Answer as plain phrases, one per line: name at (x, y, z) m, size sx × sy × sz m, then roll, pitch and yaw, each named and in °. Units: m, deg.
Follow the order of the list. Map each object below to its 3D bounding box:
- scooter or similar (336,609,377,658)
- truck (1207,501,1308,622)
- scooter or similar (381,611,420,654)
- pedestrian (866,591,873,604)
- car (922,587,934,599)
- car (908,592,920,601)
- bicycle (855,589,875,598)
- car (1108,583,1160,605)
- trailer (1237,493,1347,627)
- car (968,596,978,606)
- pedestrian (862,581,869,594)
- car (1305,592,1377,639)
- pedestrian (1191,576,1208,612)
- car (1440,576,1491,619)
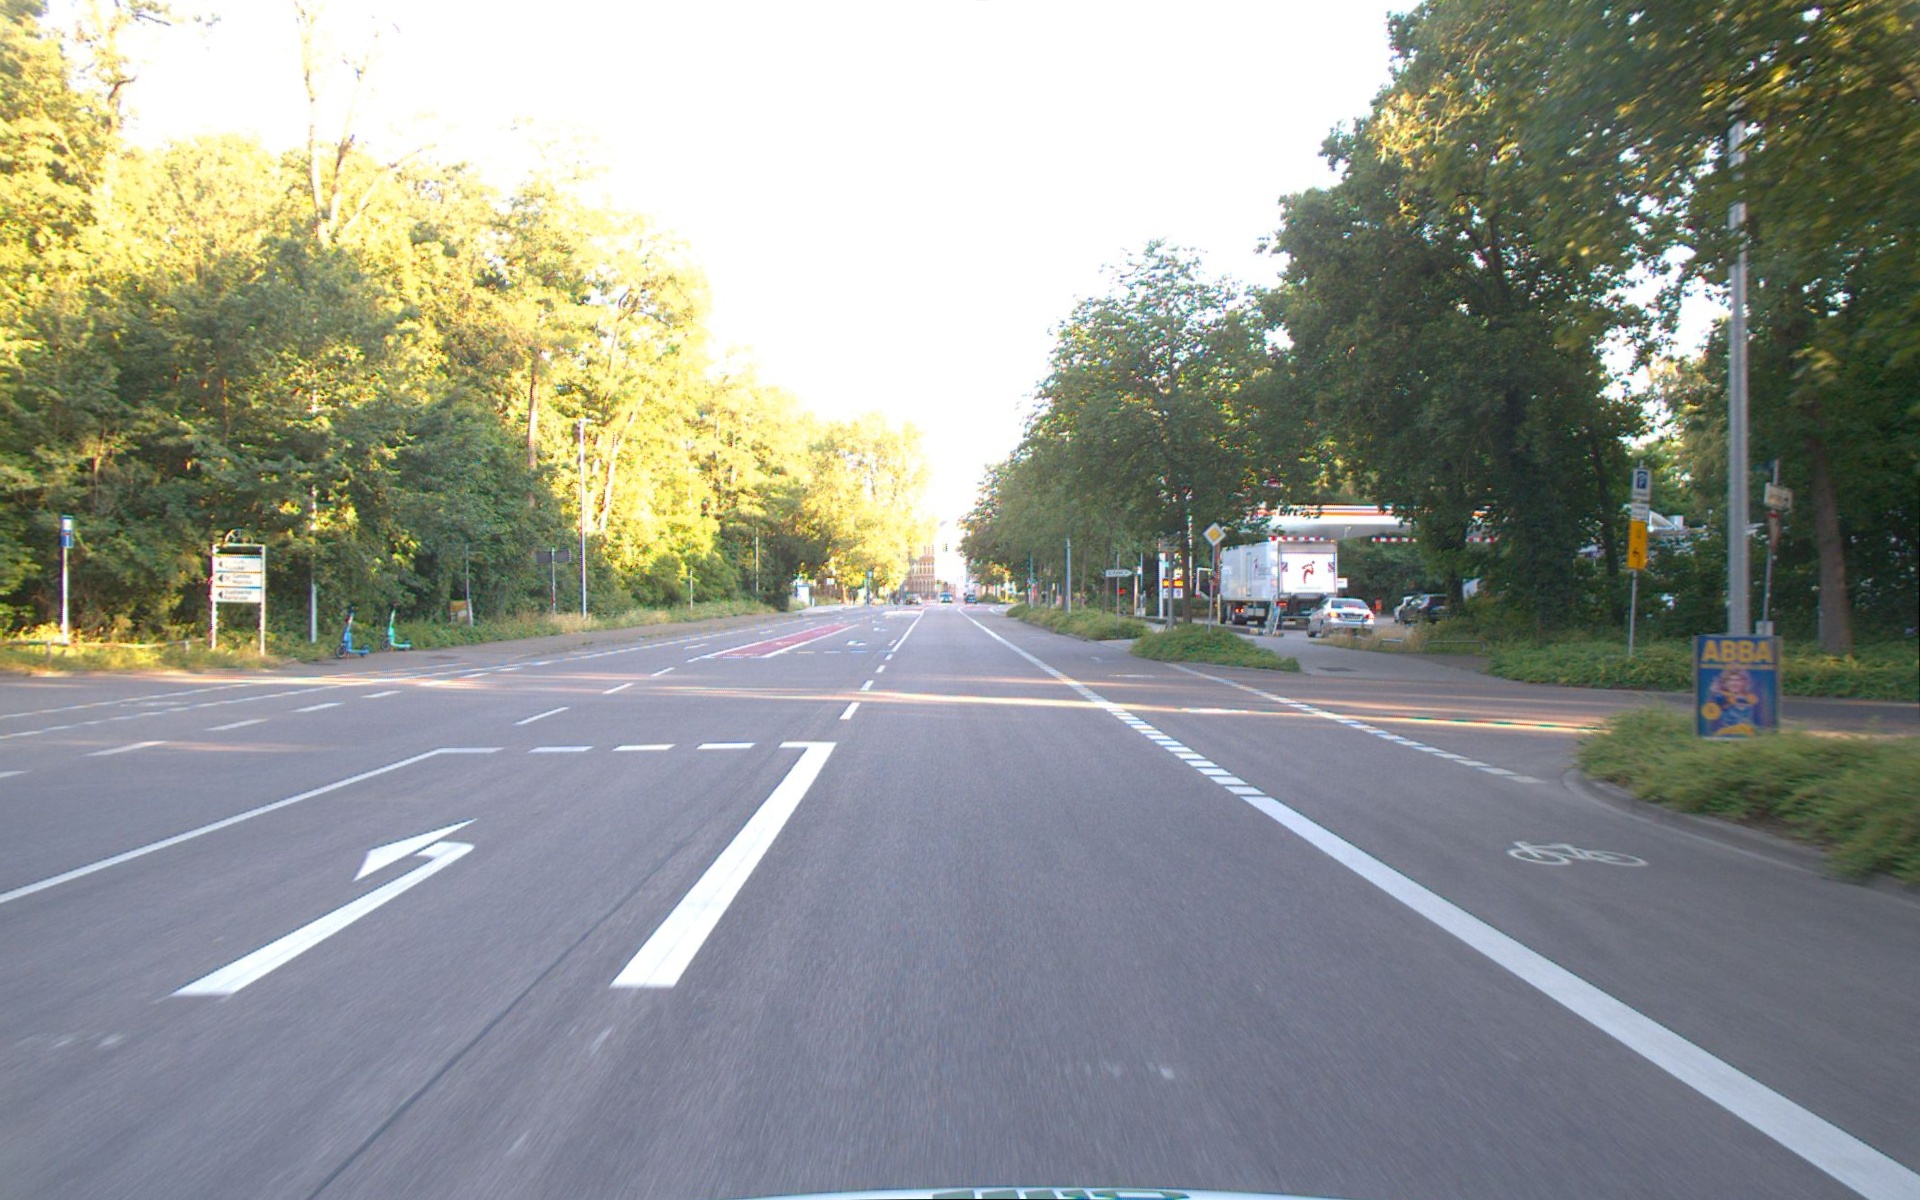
scooter or similar at (-14.353, 0.790, 39.354) m, size 0.355 × 1.129 × 0.875 m, roll 0°, pitch 0°, yaw 41°
truck at (14.490, -1.822, 81.240) m, size 2.972 × 5.550 × 8.406 m, roll 2°, pitch 0°, yaw -3°
scooter or similar at (-14.467, 0.837, 42.760) m, size 0.886 × 1.087 × 0.492 m, roll 0°, pitch 0°, yaw -26°
pedestrian at (-11.958, -0.319, 218.493) m, size 0.774 × 1.608 × 0.746 m, roll 1°, pitch 0°, yaw 8°
car at (-4.119, -0.941, 212.075) m, size 1.462 × 1.512 × 3.490 m, roll 0°, pitch 0°, yaw 0°
car at (-6.213, -0.462, 223.545) m, size 1.462 × 1.314 × 3.490 m, roll 0°, pitch 0°, yaw 0°
bicycle at (-12.132, -0.844, 211.354) m, size 2.410 × 1.216 × 0.757 m, roll 0°, pitch 0°, yaw 9°
car at (16.582, -0.553, 157.441) m, size 4.806 × 2.024 × 1.923 m, roll 0°, pitch 0°, yaw 7°
trailer at (14.762, -1.733, 74.089) m, size 2.959 × 5.557 × 7.932 m, roll 2°, pitch 0°, yaw -2°
car at (1.940, 0.147, 243.991) m, size 1.462 × 1.512 × 3.490 m, roll 0°, pitch 0°, yaw 0°
pedestrian at (-12.091, -1.591, 211.366) m, size 0.774 × 1.608 × 0.746 m, roll 1°, pitch 0°, yaw 8°
car at (14.095, 0.541, 61.402) m, size 1.733 × 1.611 × 4.821 m, roll 1°, pitch 0°, yaw 3°
pedestrian at (12.311, -0.288, 84.971) m, size 0.741 × 1.829 × 0.707 m, roll 1°, pitch 0°, yaw 2°
car at (29.713, -0.148, 97.347) m, size 1.733 × 2.388 × 4.623 m, roll 1°, pitch 0°, yaw 3°
